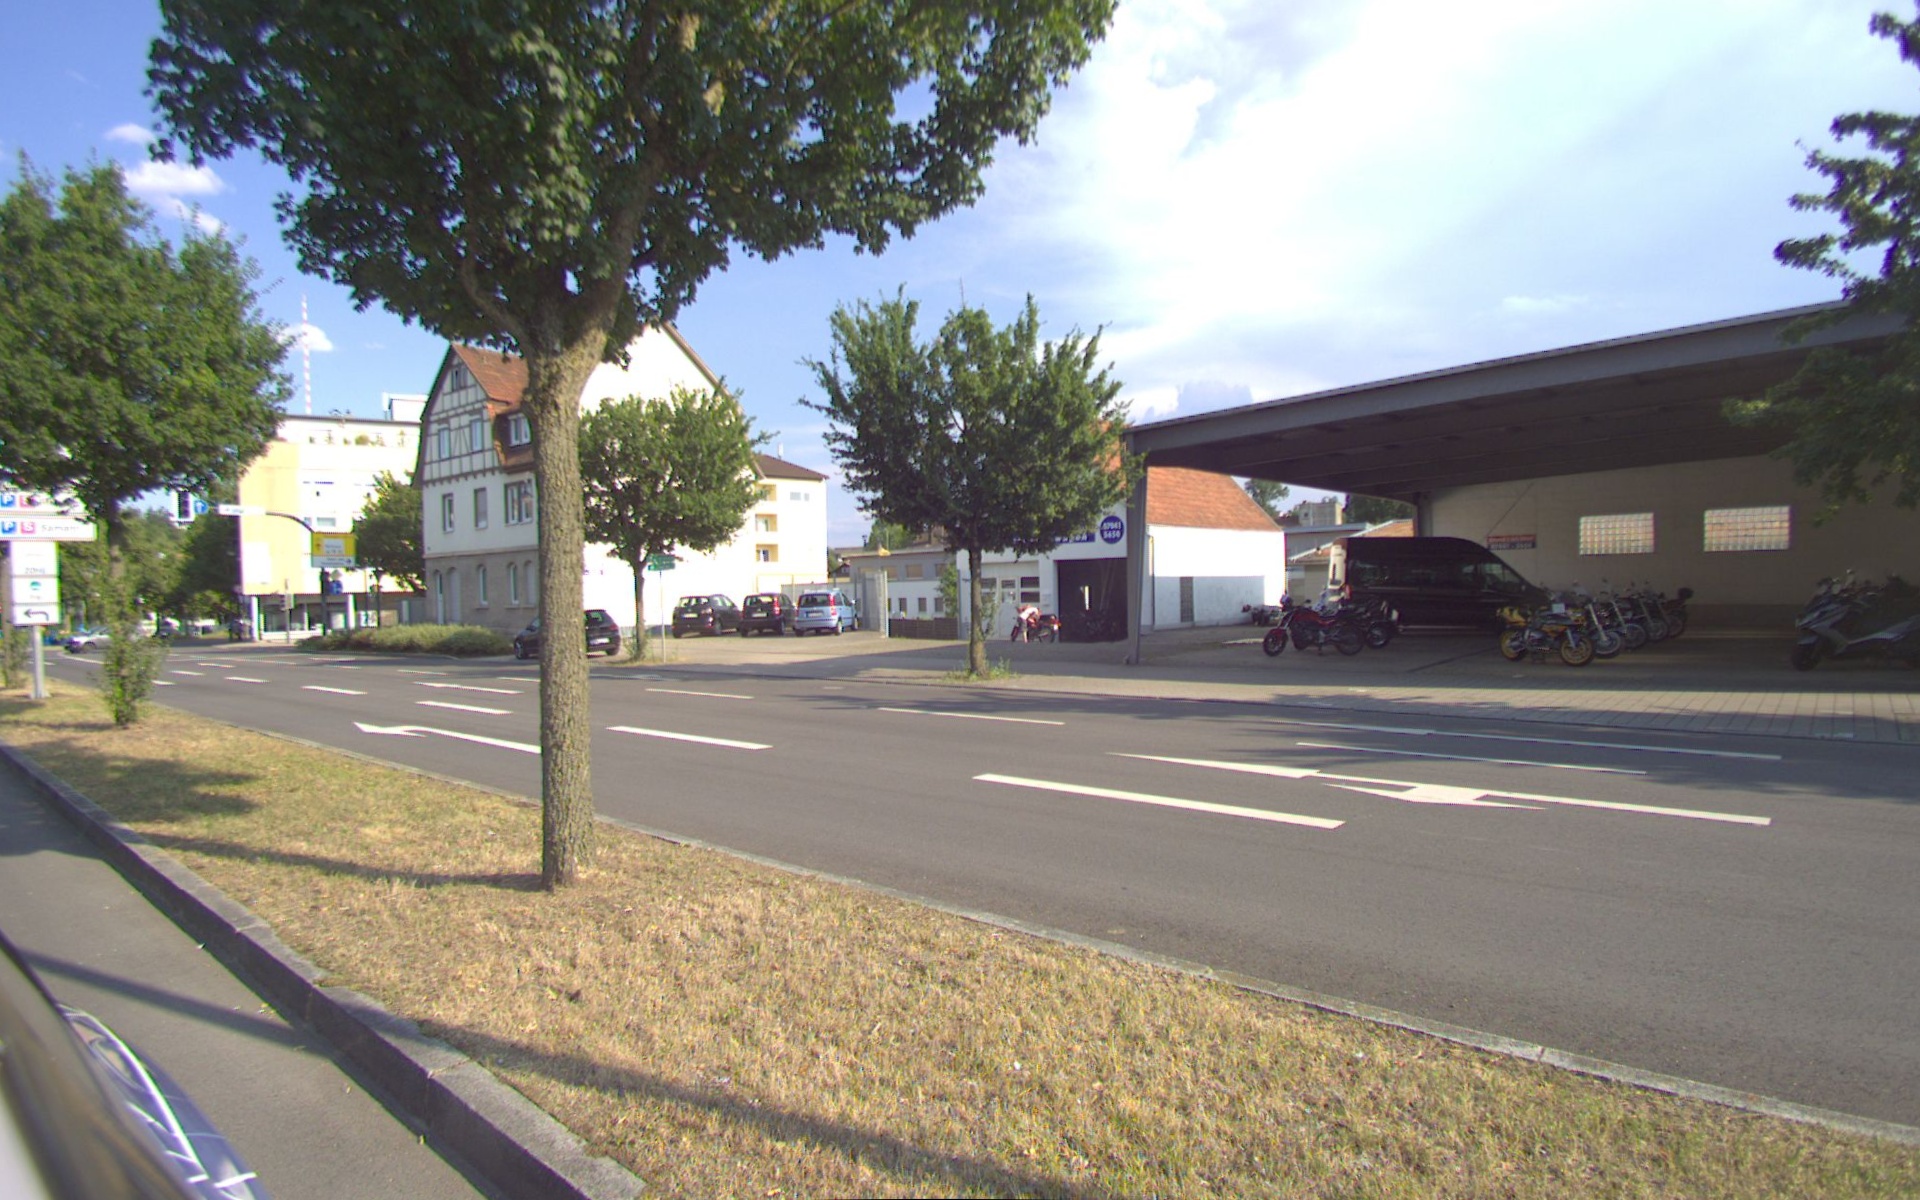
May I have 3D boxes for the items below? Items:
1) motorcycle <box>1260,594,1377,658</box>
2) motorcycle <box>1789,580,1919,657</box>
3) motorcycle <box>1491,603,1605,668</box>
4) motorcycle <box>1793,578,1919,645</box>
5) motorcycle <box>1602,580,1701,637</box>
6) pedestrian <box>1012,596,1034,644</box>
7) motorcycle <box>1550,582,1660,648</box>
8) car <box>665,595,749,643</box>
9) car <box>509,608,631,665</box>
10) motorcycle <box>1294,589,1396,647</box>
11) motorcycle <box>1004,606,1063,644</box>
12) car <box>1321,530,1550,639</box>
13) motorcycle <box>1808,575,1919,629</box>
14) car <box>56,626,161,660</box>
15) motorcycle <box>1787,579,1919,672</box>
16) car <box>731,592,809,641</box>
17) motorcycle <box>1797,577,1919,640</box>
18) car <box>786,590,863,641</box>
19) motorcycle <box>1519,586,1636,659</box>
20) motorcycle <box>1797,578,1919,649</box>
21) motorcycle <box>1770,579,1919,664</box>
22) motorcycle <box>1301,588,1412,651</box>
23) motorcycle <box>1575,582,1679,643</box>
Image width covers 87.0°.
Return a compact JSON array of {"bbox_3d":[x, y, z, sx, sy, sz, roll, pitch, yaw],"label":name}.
[{"bbox_3d":[7.467,0.549,21.184,2.202,1.290,0.629,-1,0,11],"label":"motorcycle"},{"bbox_3d":[16.502,0.331,18.371,2.103,1.306,0.628,-3,-1,18],"label":"motorcycle"},{"bbox_3d":[10.502,0.609,18.175,0.621,1.095,2.038,-1,0,-7],"label":"motorcycle"},{"bbox_3d":[19.005,0.247,21.313,2.103,1.306,0.628,-3,-1,18],"label":"motorcycle"},{"bbox_3d":[17.262,0.208,25.326,0.621,1.347,2.269,-1,0,-9],"label":"motorcycle"},{"bbox_3d":[2.043,0.655,32.789,0.485,1.530,0.496,-1,0,41],"label":"pedestrian"},{"bbox_3d":[13.835,0.313,21.793,0.621,1.347,2.269,-1,0,-9],"label":"motorcycle"},{"bbox_3d":[-9.350,0.664,37.724,1.797,1.512,3.819,-3,2,5],"label":"car"},{"bbox_3d":[-11.629,1.058,30.102,3.823,1.462,1.795,-1,2,42],"label":"car"},{"bbox_3d":[9.350,0.438,24.631,2.198,1.372,0.630,-1,0,5],"label":"motorcycle"},{"bbox_3d":[2.405,0.818,33.235,1.974,1.194,0.577,-1,0,41],"label":"motorcycle"},{"bbox_3d":[12.837,-0.392,27.651,5.221,2.773,1.996,-1,0,7],"label":"car"},{"bbox_3d":[23.705,0.062,26.544,2.103,1.306,0.628,-3,-1,18],"label":"motorcycle"},{"bbox_3d":[-45.925,2.316,54.672,1.853,1.644,3.960,-1,0,29],"label":"car"},{"bbox_3d":[13.832,0.368,15.139,2.103,1.306,0.628,-3,-1,18],"label":"motorcycle"},{"bbox_3d":[-6.950,0.561,37.332,1.797,1.512,3.819,-3,2,5],"label":"car"},{"bbox_3d":[20.199,0.197,22.667,2.103,1.306,0.628,-3,-1,18],"label":"motorcycle"},{"bbox_3d":[-4.711,0.496,35.702,1.797,1.512,3.819,-3,2,5],"label":"car"},{"bbox_3d":[12.129,0.427,19.980,0.621,1.347,2.269,-1,0,-9],"label":"motorcycle"},{"bbox_3d":[18.016,0.260,20.012,2.103,1.306,0.628,-3,-1,18],"label":"motorcycle"},{"bbox_3d":[14.884,0.353,16.799,2.103,1.306,0.628,-3,-1,18],"label":"motorcycle"},{"bbox_3d":[8.927,0.437,22.828,2.198,1.372,0.630,-1,0,5],"label":"motorcycle"},{"bbox_3d":[15.508,0.290,23.602,0.621,1.347,2.269,-1,0,-9],"label":"motorcycle"}]
